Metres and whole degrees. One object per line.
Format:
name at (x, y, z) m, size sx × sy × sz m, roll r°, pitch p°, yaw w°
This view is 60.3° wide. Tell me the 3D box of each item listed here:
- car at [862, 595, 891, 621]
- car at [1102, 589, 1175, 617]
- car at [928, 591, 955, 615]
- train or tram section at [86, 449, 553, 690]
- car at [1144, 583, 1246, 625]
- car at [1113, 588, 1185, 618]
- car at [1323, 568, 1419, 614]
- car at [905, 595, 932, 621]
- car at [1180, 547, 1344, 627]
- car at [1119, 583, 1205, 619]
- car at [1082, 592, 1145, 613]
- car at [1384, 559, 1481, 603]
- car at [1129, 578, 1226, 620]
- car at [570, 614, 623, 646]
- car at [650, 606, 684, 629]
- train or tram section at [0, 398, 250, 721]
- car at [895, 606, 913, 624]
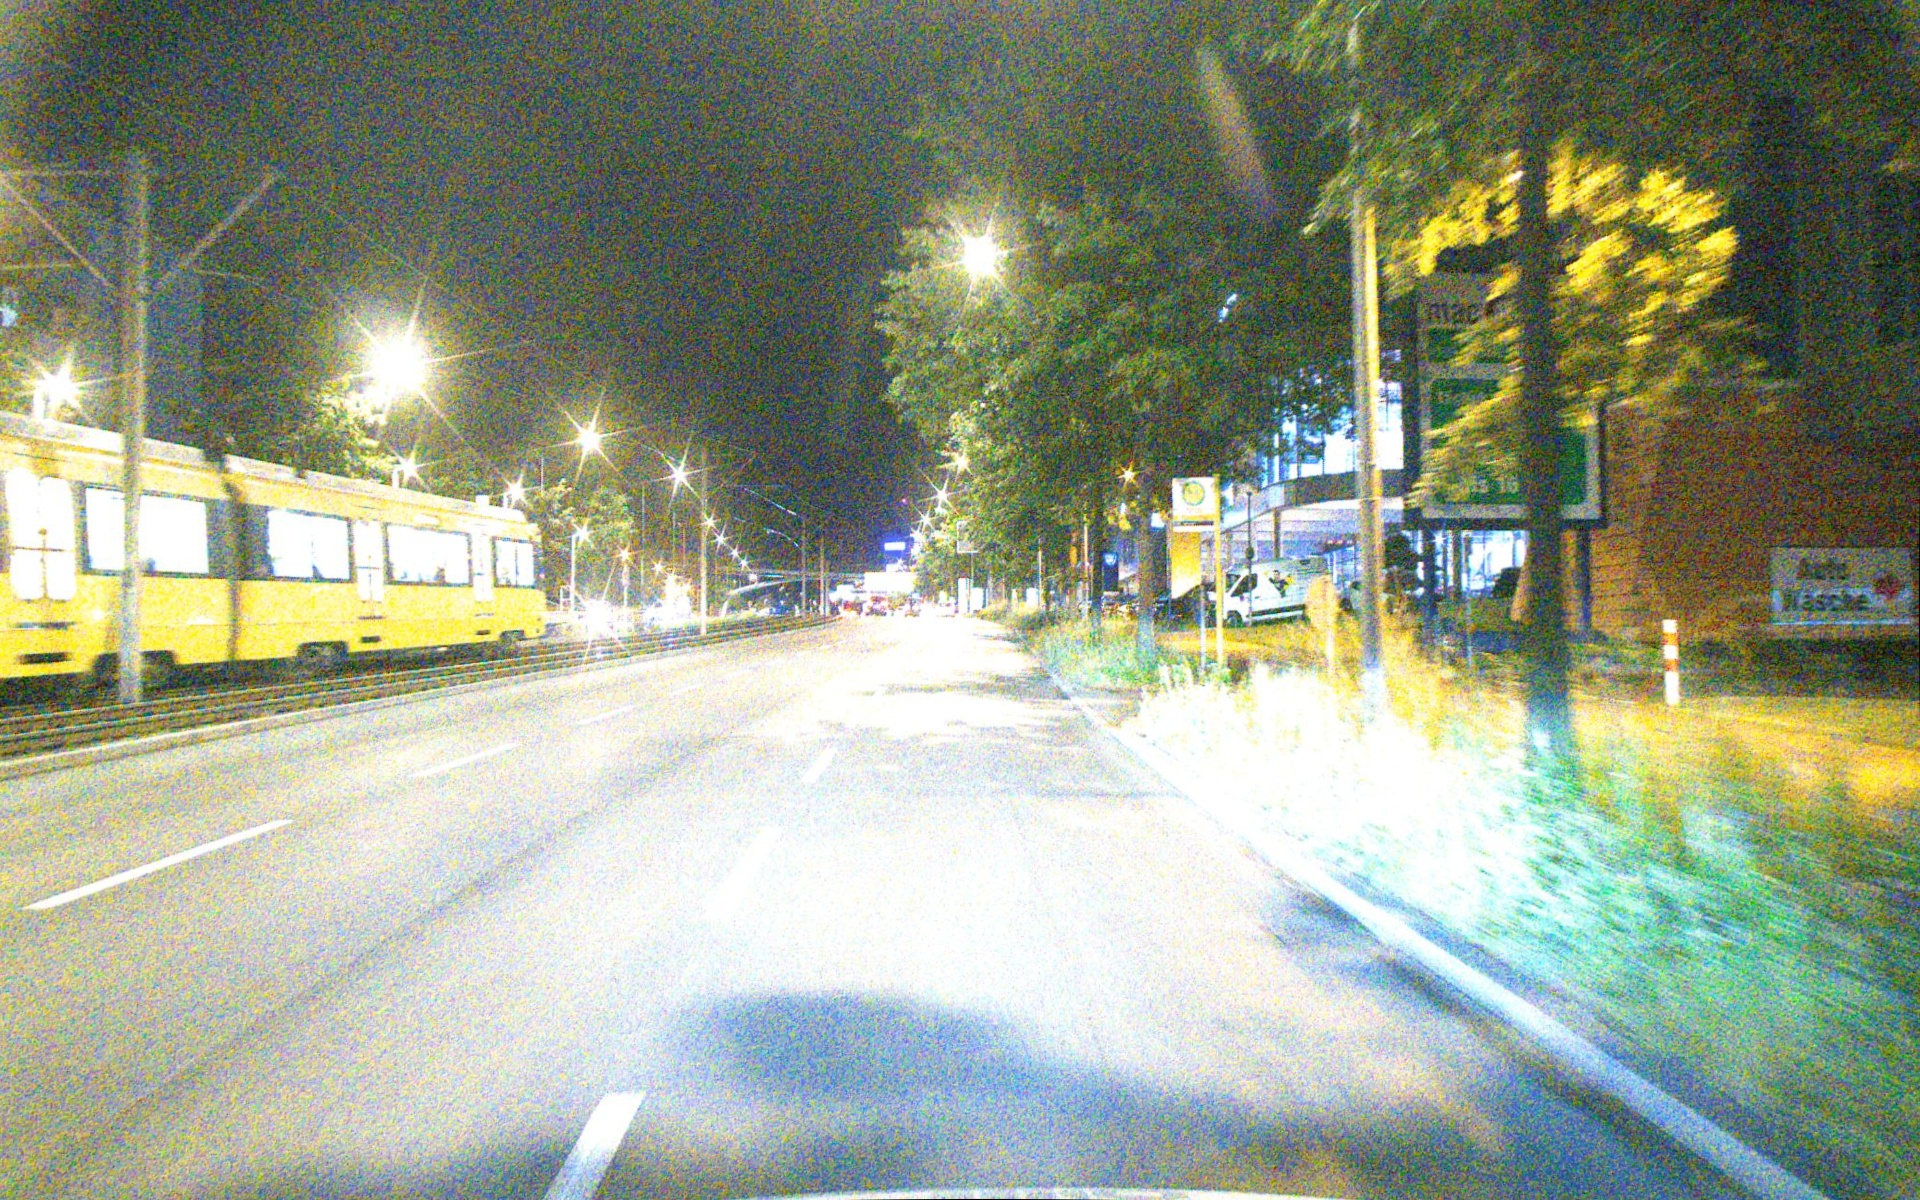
car at (-6.943, 0.686, 137.452) m, size 2.216 × 2.049 × 4.825 m, roll 0°, pitch -1°, yaw -1°
car at (10.814, 0.161, 100.209) m, size 3.959 × 1.397 × 1.817 m, roll -4°, pitch 1°, yaw -17°
car at (-1.712, 0.306, 153.150) m, size 2.378 × 2.150 × 4.825 m, roll 0°, pitch -1°, yaw -1°
train or tram section at (-12.701, -0.480, 36.186) m, size 2.702 × 3.894 × 18.671 m, roll 0°, pitch 0°, yaw 1°
car at (10.730, 0.178, 75.597) m, size 4.128 × 1.692 × 1.955 m, roll -3°, pitch 0°, yaw -11°
car at (10.852, 0.164, 94.984) m, size 3.738 × 1.478 × 1.711 m, roll -3°, pitch 0°, yaw -15°
car at (16.603, -0.331, 67.055) m, size 1.780 × 1.742 × 3.940 m, roll -1°, pitch -1°, yaw -22°
car at (-3.507, 0.659, 140.566) m, size 2.308 × 2.166 × 4.825 m, roll 0°, pitch -1°, yaw -1°
car at (12.012, -0.524, 65.786) m, size 5.925 × 2.572 × 2.273 m, roll -5°, pitch 1°, yaw -18°
car at (10.554, 0.046, 86.473) m, size 4.009 × 1.595 × 1.850 m, roll -5°, pitch 1°, yaw -11°
car at (10.533, 0.160, 113.775) m, size 3.925 × 1.448 × 1.899 m, roll 0°, pitch 1°, yaw -18°
car at (19.804, -0.771, 69.524) m, size 1.770 × 1.604 × 3.940 m, roll -6°, pitch 1°, yaw -22°
car at (10.947, -0.069, 83.433) m, size 4.382 × 1.716 × 1.994 m, roll -5°, pitch 1°, yaw -11°
car at (-17.804, 1.483, 81.104) m, size 1.748 × 1.523 × 4.173 m, roll 0°, pitch -1°, yaw -1°
car at (-20.443, 1.204, 115.535) m, size 1.626 × 1.543 × 3.911 m, roll 0°, pitch -1°, yaw 1°
train or tram section at (-13.033, -0.506, 17.103) m, size 2.681 × 3.913 × 19.365 m, roll 0°, pitch 0°, yaw 1°
car at (-6.214, 1.673, 183.114) m, size 1.848 × 1.892 × 3.999 m, roll 0°, pitch -1°, yaw -1°
